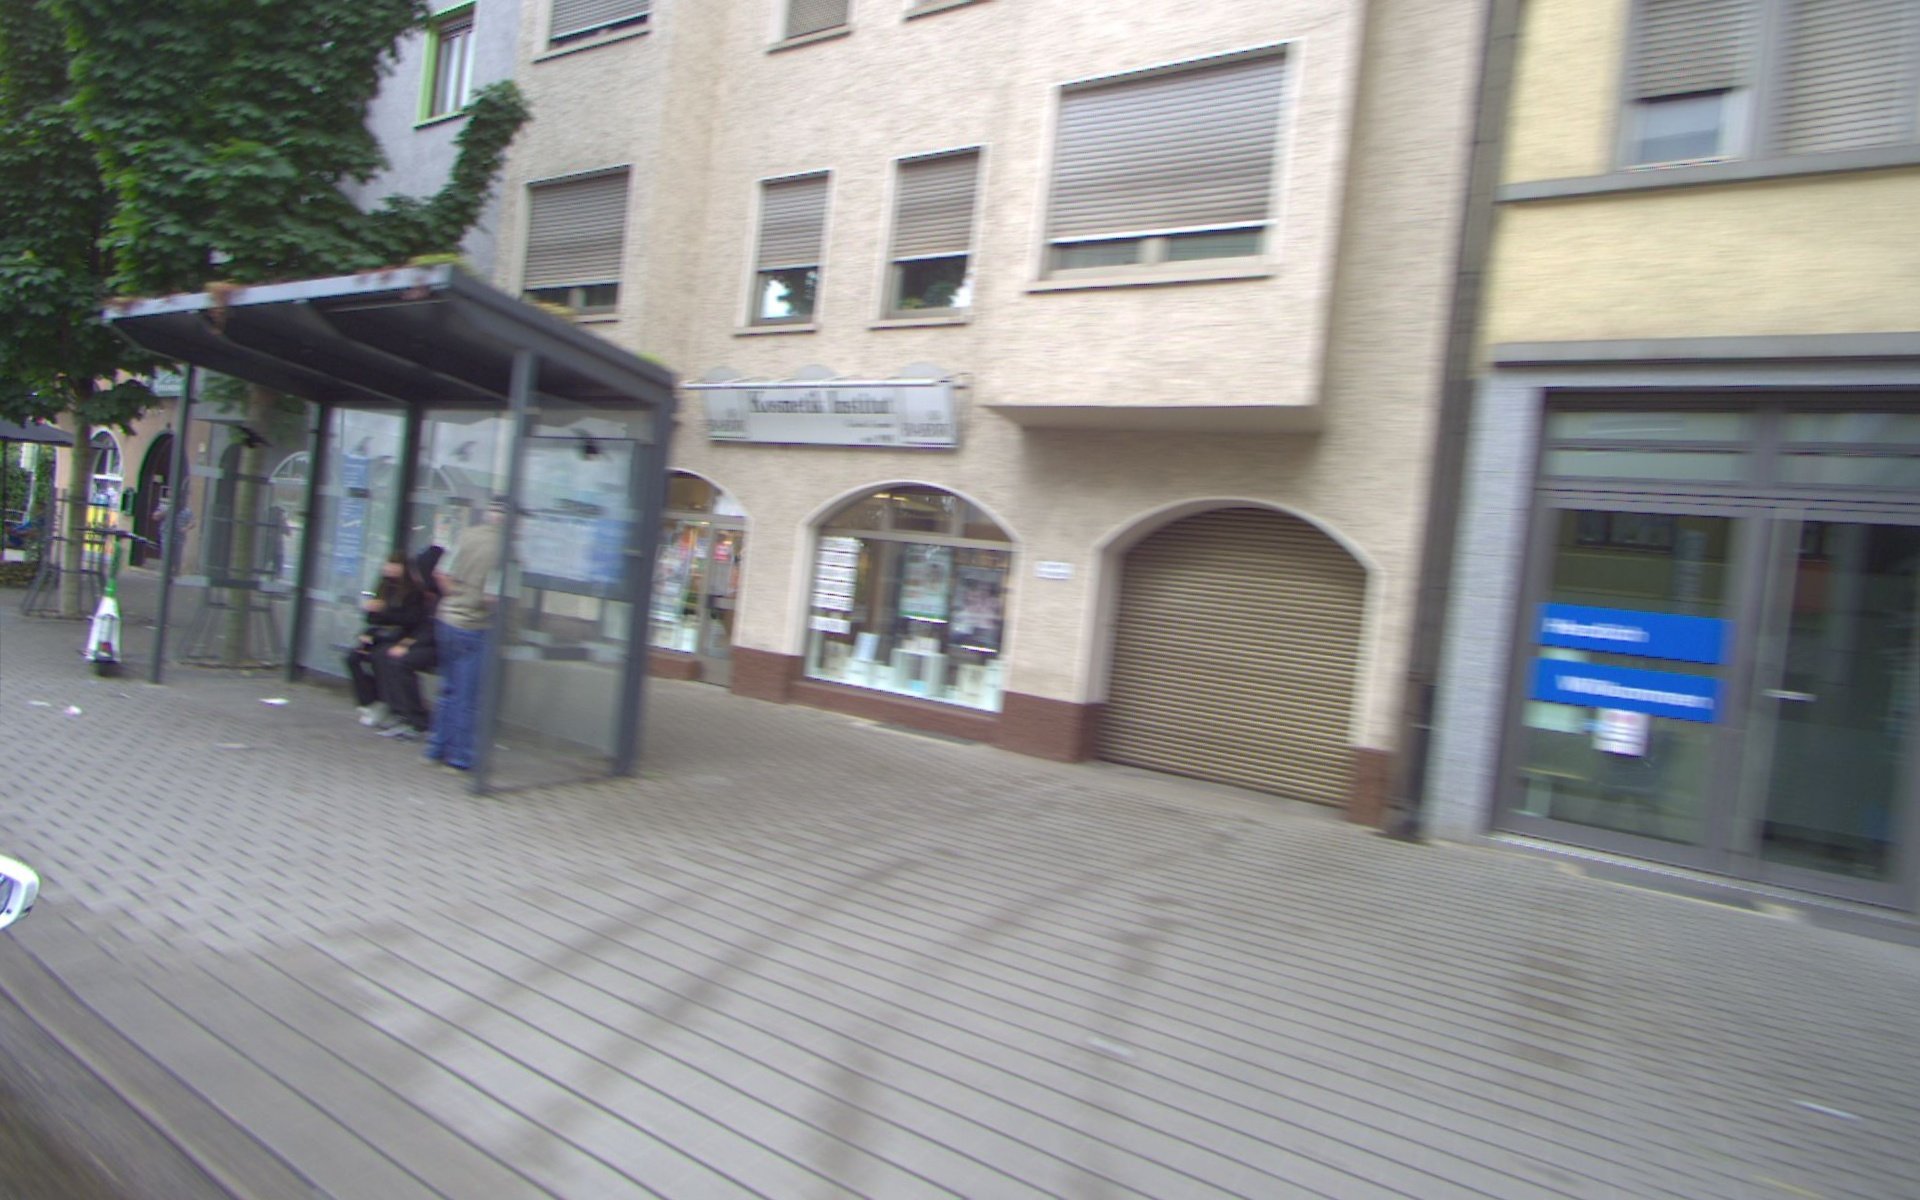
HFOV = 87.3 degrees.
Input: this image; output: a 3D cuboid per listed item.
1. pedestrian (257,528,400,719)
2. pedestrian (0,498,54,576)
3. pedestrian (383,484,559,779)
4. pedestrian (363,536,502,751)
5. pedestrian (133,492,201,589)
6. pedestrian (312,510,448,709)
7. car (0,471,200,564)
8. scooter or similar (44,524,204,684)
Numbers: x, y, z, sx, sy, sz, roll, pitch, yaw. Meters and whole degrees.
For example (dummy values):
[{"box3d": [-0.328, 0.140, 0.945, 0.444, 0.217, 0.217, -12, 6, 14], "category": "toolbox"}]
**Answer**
[{"box3d": [-4.816, 0.180, 7.685, 0.614, 1.352, 0.606, 6, 1, 30], "category": "pedestrian"}, {"box3d": [-15.453, -1.039, 16.508, 0.547, 1.204, 0.665, 6, 0, 30], "category": "pedestrian"}, {"box3d": [-3.056, 0.186, 6.294, 0.646, 1.720, 0.619, 6, 1, 35], "category": "pedestrian"}, {"box3d": [-3.704, 0.300, 7.077, 0.505, 1.414, 0.564, 6, 1, 29], "category": "pedestrian"}, {"box3d": [-13.901, -1.036, 17.645, 0.714, 1.591, 0.644, 6, 1, 34], "category": "pedestrian"}, {"box3d": [-4.247, 0.069, 7.373, 0.586, 1.367, 0.535, 6, 1, 30], "category": "pedestrian"}, {"box3d": [-27.568, -2.547, 32.385, 1.962, 2.036, 4.767, 8, -3, 8], "category": "car"}, {"box3d": [-7.075, 0.019, 8.496, 1.523, 1.187, 0.511, 6, 0, 32], "category": "scooter or similar"}]
